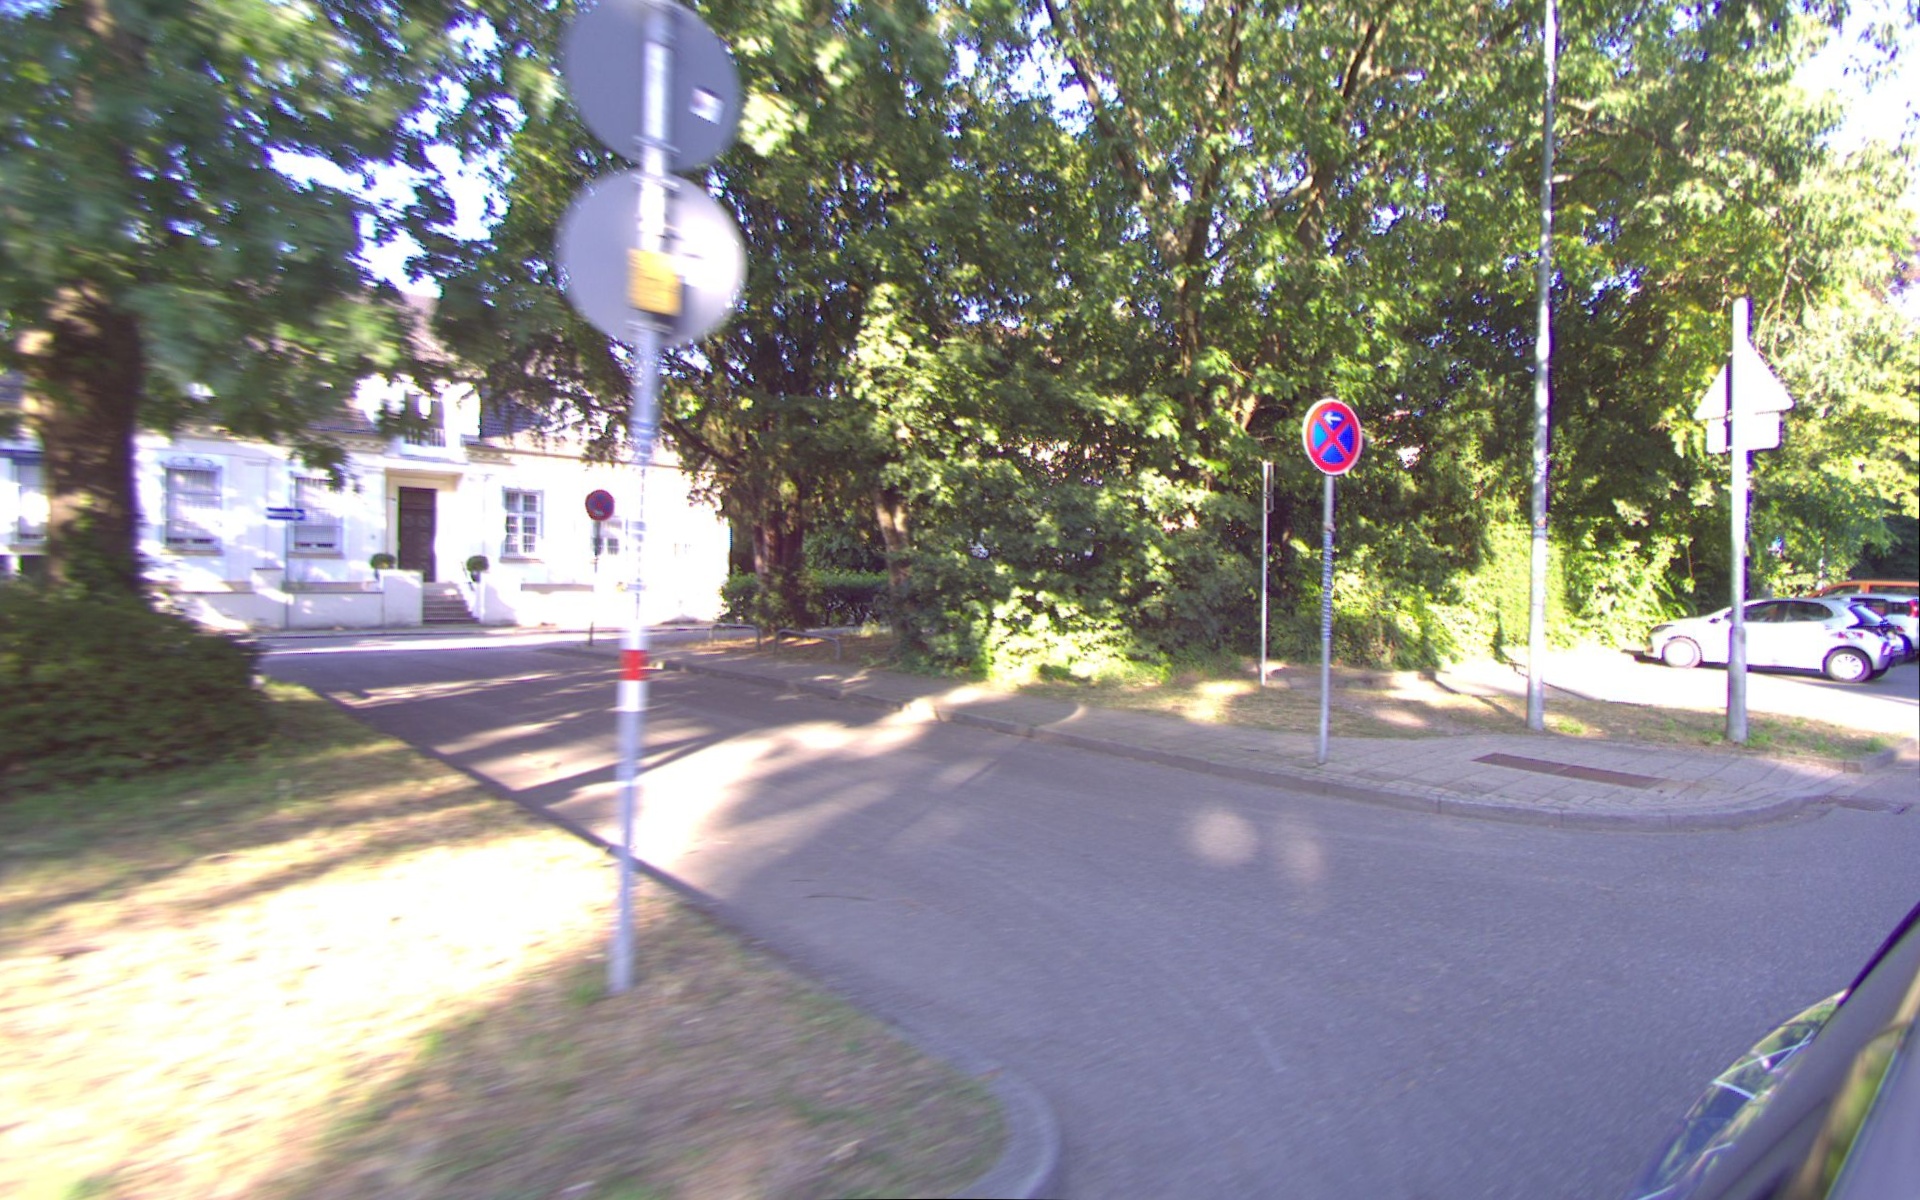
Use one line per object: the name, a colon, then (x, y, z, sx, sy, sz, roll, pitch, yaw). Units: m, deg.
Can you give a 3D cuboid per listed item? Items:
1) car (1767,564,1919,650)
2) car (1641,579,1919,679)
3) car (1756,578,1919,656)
car: (24.062, 0.168, 26.010, 2.043, 2.022, 4.808, 0, 3, -39)
car: (15.794, 0.463, 19.557, 1.703, 1.565, 3.999, 0, 3, -38)
car: (21.762, 0.360, 24.609, 1.647, 1.651, 3.409, 0, 3, -35)
